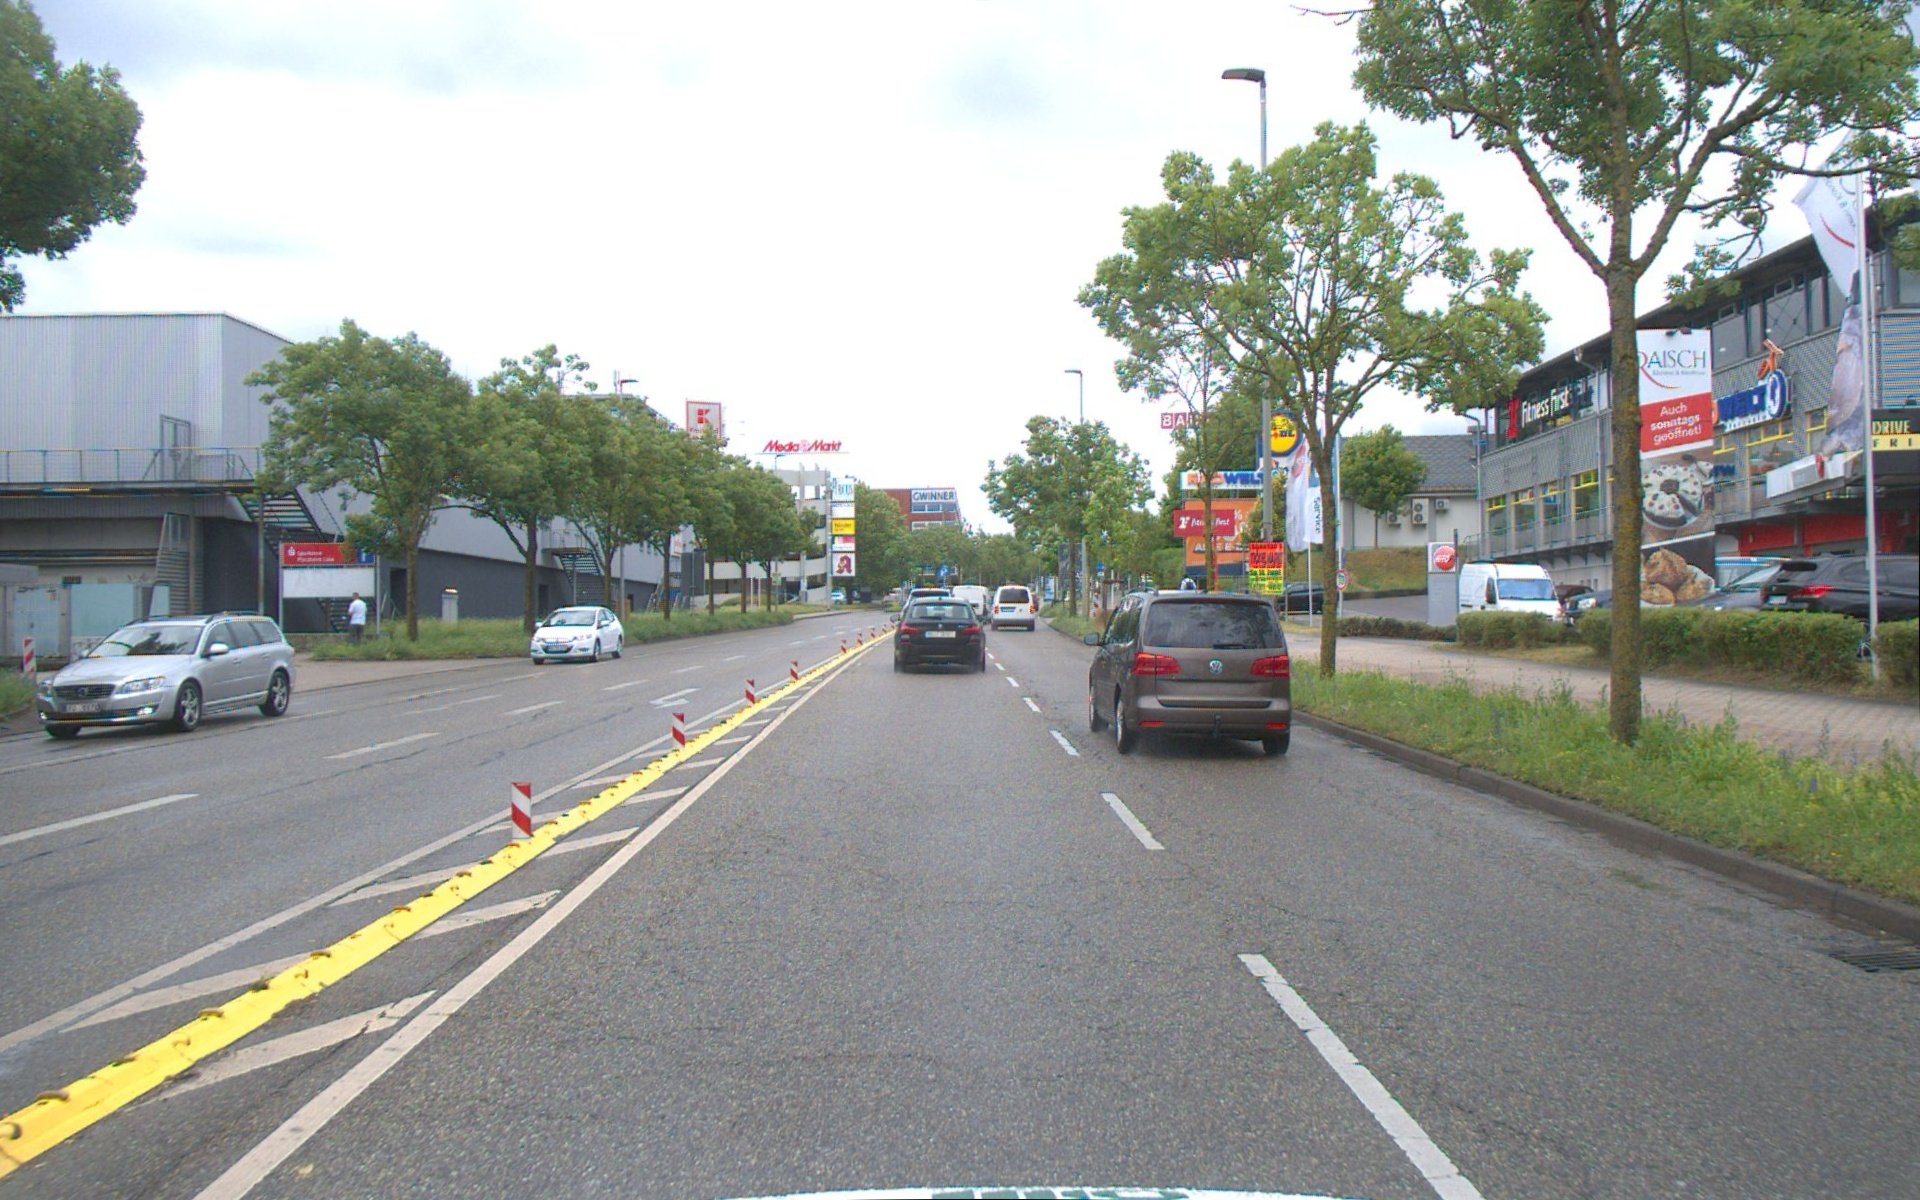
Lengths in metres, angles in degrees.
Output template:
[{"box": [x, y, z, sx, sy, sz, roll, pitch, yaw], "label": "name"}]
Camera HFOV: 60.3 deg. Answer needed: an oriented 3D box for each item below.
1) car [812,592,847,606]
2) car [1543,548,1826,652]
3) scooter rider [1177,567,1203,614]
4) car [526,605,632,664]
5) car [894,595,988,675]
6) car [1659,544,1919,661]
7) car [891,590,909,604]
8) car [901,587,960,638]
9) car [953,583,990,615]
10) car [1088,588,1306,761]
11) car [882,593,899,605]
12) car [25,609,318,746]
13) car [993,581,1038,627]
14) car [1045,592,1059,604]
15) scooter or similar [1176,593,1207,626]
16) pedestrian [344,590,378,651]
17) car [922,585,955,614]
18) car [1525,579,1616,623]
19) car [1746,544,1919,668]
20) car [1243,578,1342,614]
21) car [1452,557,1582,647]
[{"box": [-17.400, -0.140, 220.844, 4.506, 1.776, 1.967, 0, 2, -2], "label": "car"}, {"box": [13.744, 0.002, 31.637, 4.557, 1.628, 1.928, -4, 0, 10], "label": "car"}, {"box": [9.333, -0.385, 67.071, 0.683, 1.852, 0.855, -3, 1, -15], "label": "scooter rider"}, {"box": [-10.116, 0.887, 44.199, 1.705, 1.430, 4.469, -3, 0, 1], "label": "car"}, {"box": [-0.400, 0.672, 33.874, 1.790, 1.494, 3.999, 1, 0, -1], "label": "car"}, {"box": [14.042, 0.019, 27.382, 4.082, 1.628, 1.829, -4, 0, 3], "label": "car"}, {"box": [-8.291, -0.370, 230.034, 1.996, 1.792, 4.949, 0, 2, 3], "label": "car"}, {"box": [-0.910, 0.396, 52.567, 1.757, 1.537, 4.000, 1, 0, 0], "label": "car"}, {"box": [0.565, -0.040, 80.952, 1.757, 1.537, 4.000, 1, 0, 1], "label": "car"}, {"box": [2.400, 0.692, 17.712, 1.651, 1.609, 4.218, 1, 0, -1], "label": "car"}, {"box": [-9.041, -0.135, 215.612, 1.893, 1.637, 4.712, 0, 0, 2], "label": "car"}, {"box": [-10.807, 0.982, 23.118, 1.705, 1.580, 4.782, -3, 0, 1], "label": "car"}, {"box": [2.301, 0.139, 68.195, 1.789, 1.789, 4.001, 1, 1, 2], "label": "car"}, {"box": [12.413, -0.291, 222.872, 1.757, 1.537, 4.001, 1, 0, 2], "label": "car"}, {"box": [9.381, 0.371, 67.058, 0.683, 1.285, 1.395, -3, 1, -14], "label": "scooter or similar"}, {"box": [-16.122, 0.536, 44.515, 0.572, 1.611, 0.767, 1, 0, 2], "label": "pedestrian"}, {"box": [-1.186, -0.021, 92.625, 1.757, 1.537, 3.999, 1, 0, 0], "label": "car"}, {"box": [23.987, 0.006, 64.974, 3.838, 1.527, 1.715, -3, 3, -40], "label": "car"}, {"box": [14.066, 0.007, 24.305, 4.082, 1.628, 1.801, -4, 0, 3], "label": "car"}, {"box": [15.023, -0.199, 74.816, 4.019, 1.463, 1.792, -1, 2, -13], "label": "car"}, {"box": [16.886, 0.013, 50.477, 2.181, 2.581, 5.682, 1, 1, 2], "label": "car"}]
